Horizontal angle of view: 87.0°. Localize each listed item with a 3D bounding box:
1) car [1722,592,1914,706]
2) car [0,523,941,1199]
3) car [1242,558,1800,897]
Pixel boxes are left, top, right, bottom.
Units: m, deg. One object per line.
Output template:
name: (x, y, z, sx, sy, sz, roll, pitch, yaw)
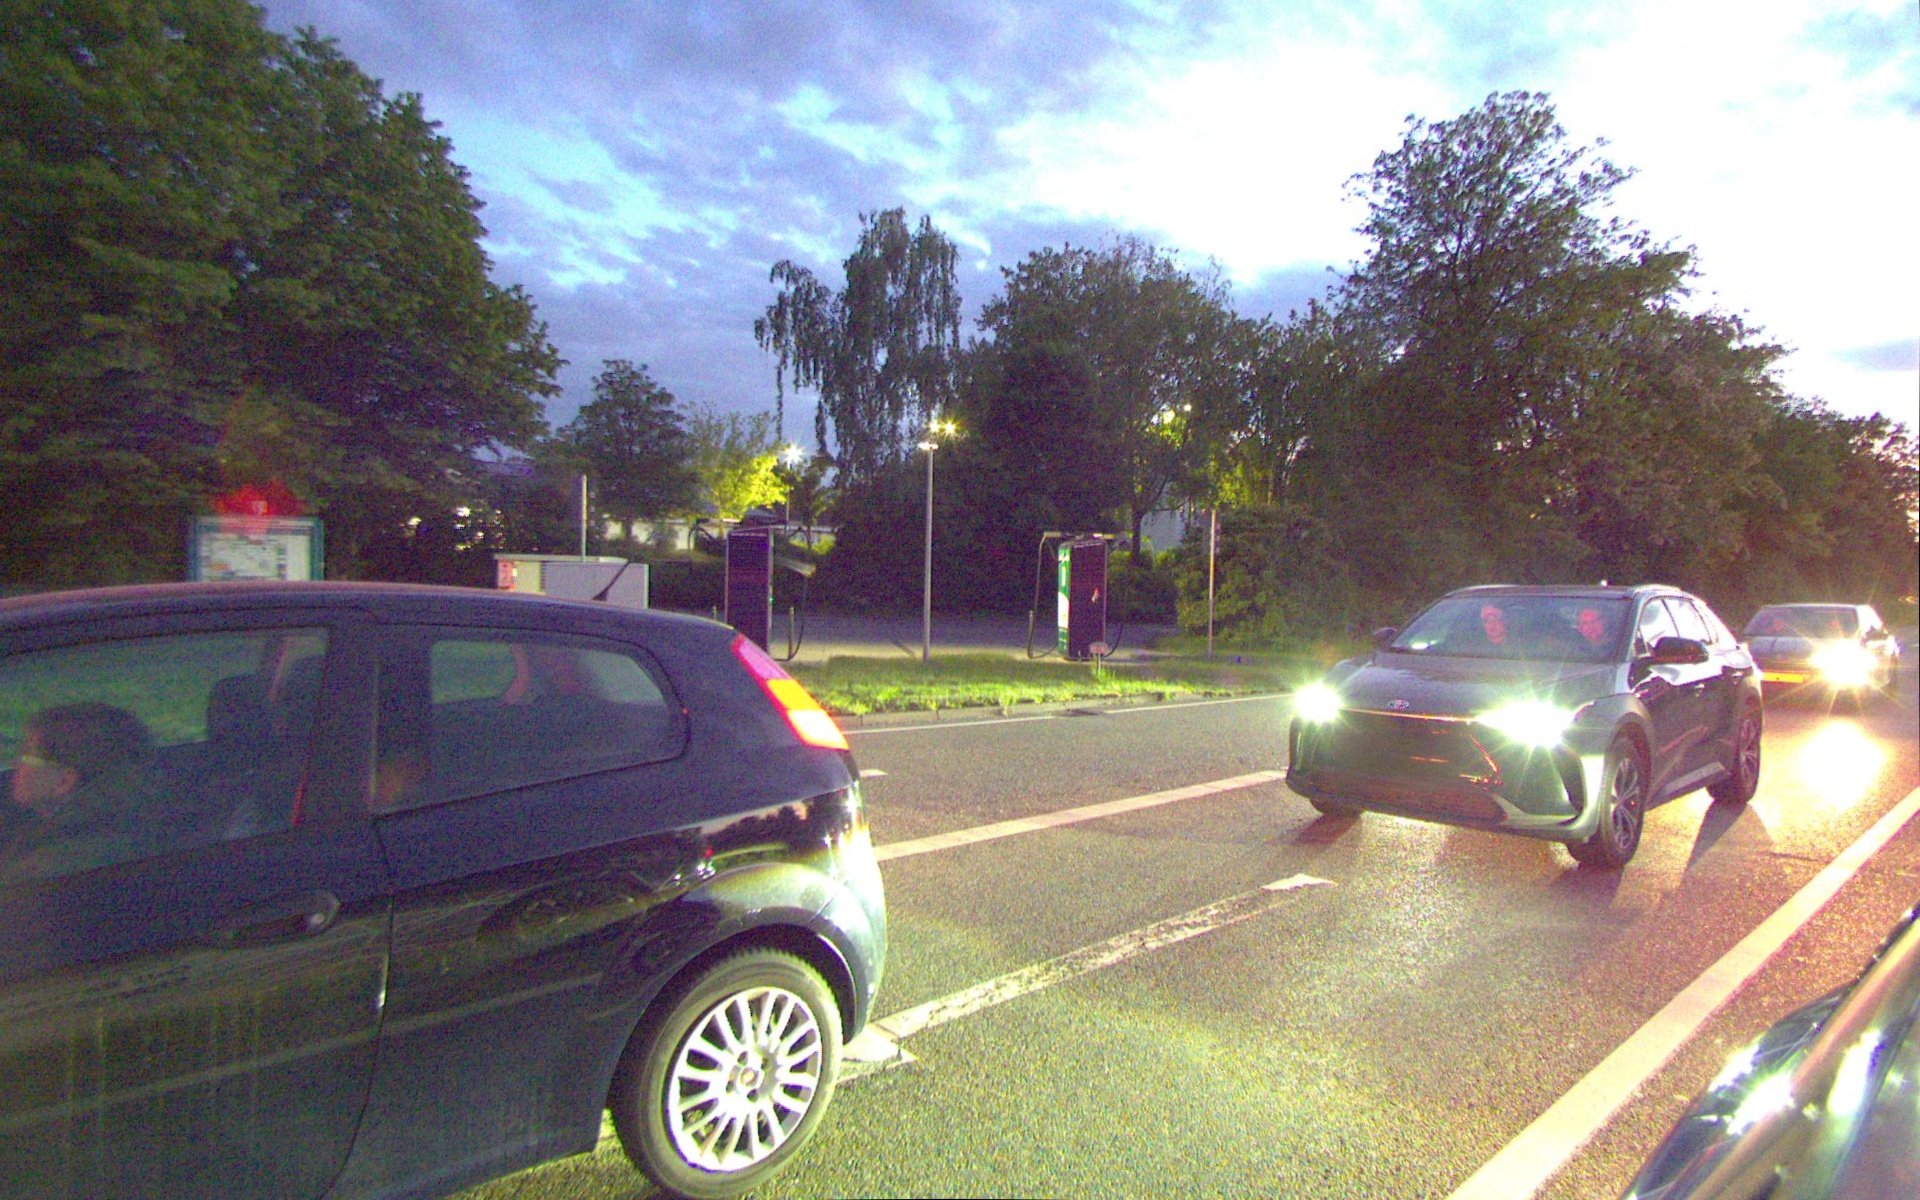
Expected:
car: (12.780, 0.632, 15.002, 3.803, 1.487, 1.622, 0, 0, -41)
car: (-2.133, 0.637, 2.145, 4.032, 1.540, 1.674, 0, 1, -39)
car: (4.174, 0.603, 7.157, 4.629, 1.630, 1.997, 0, 0, -41)
